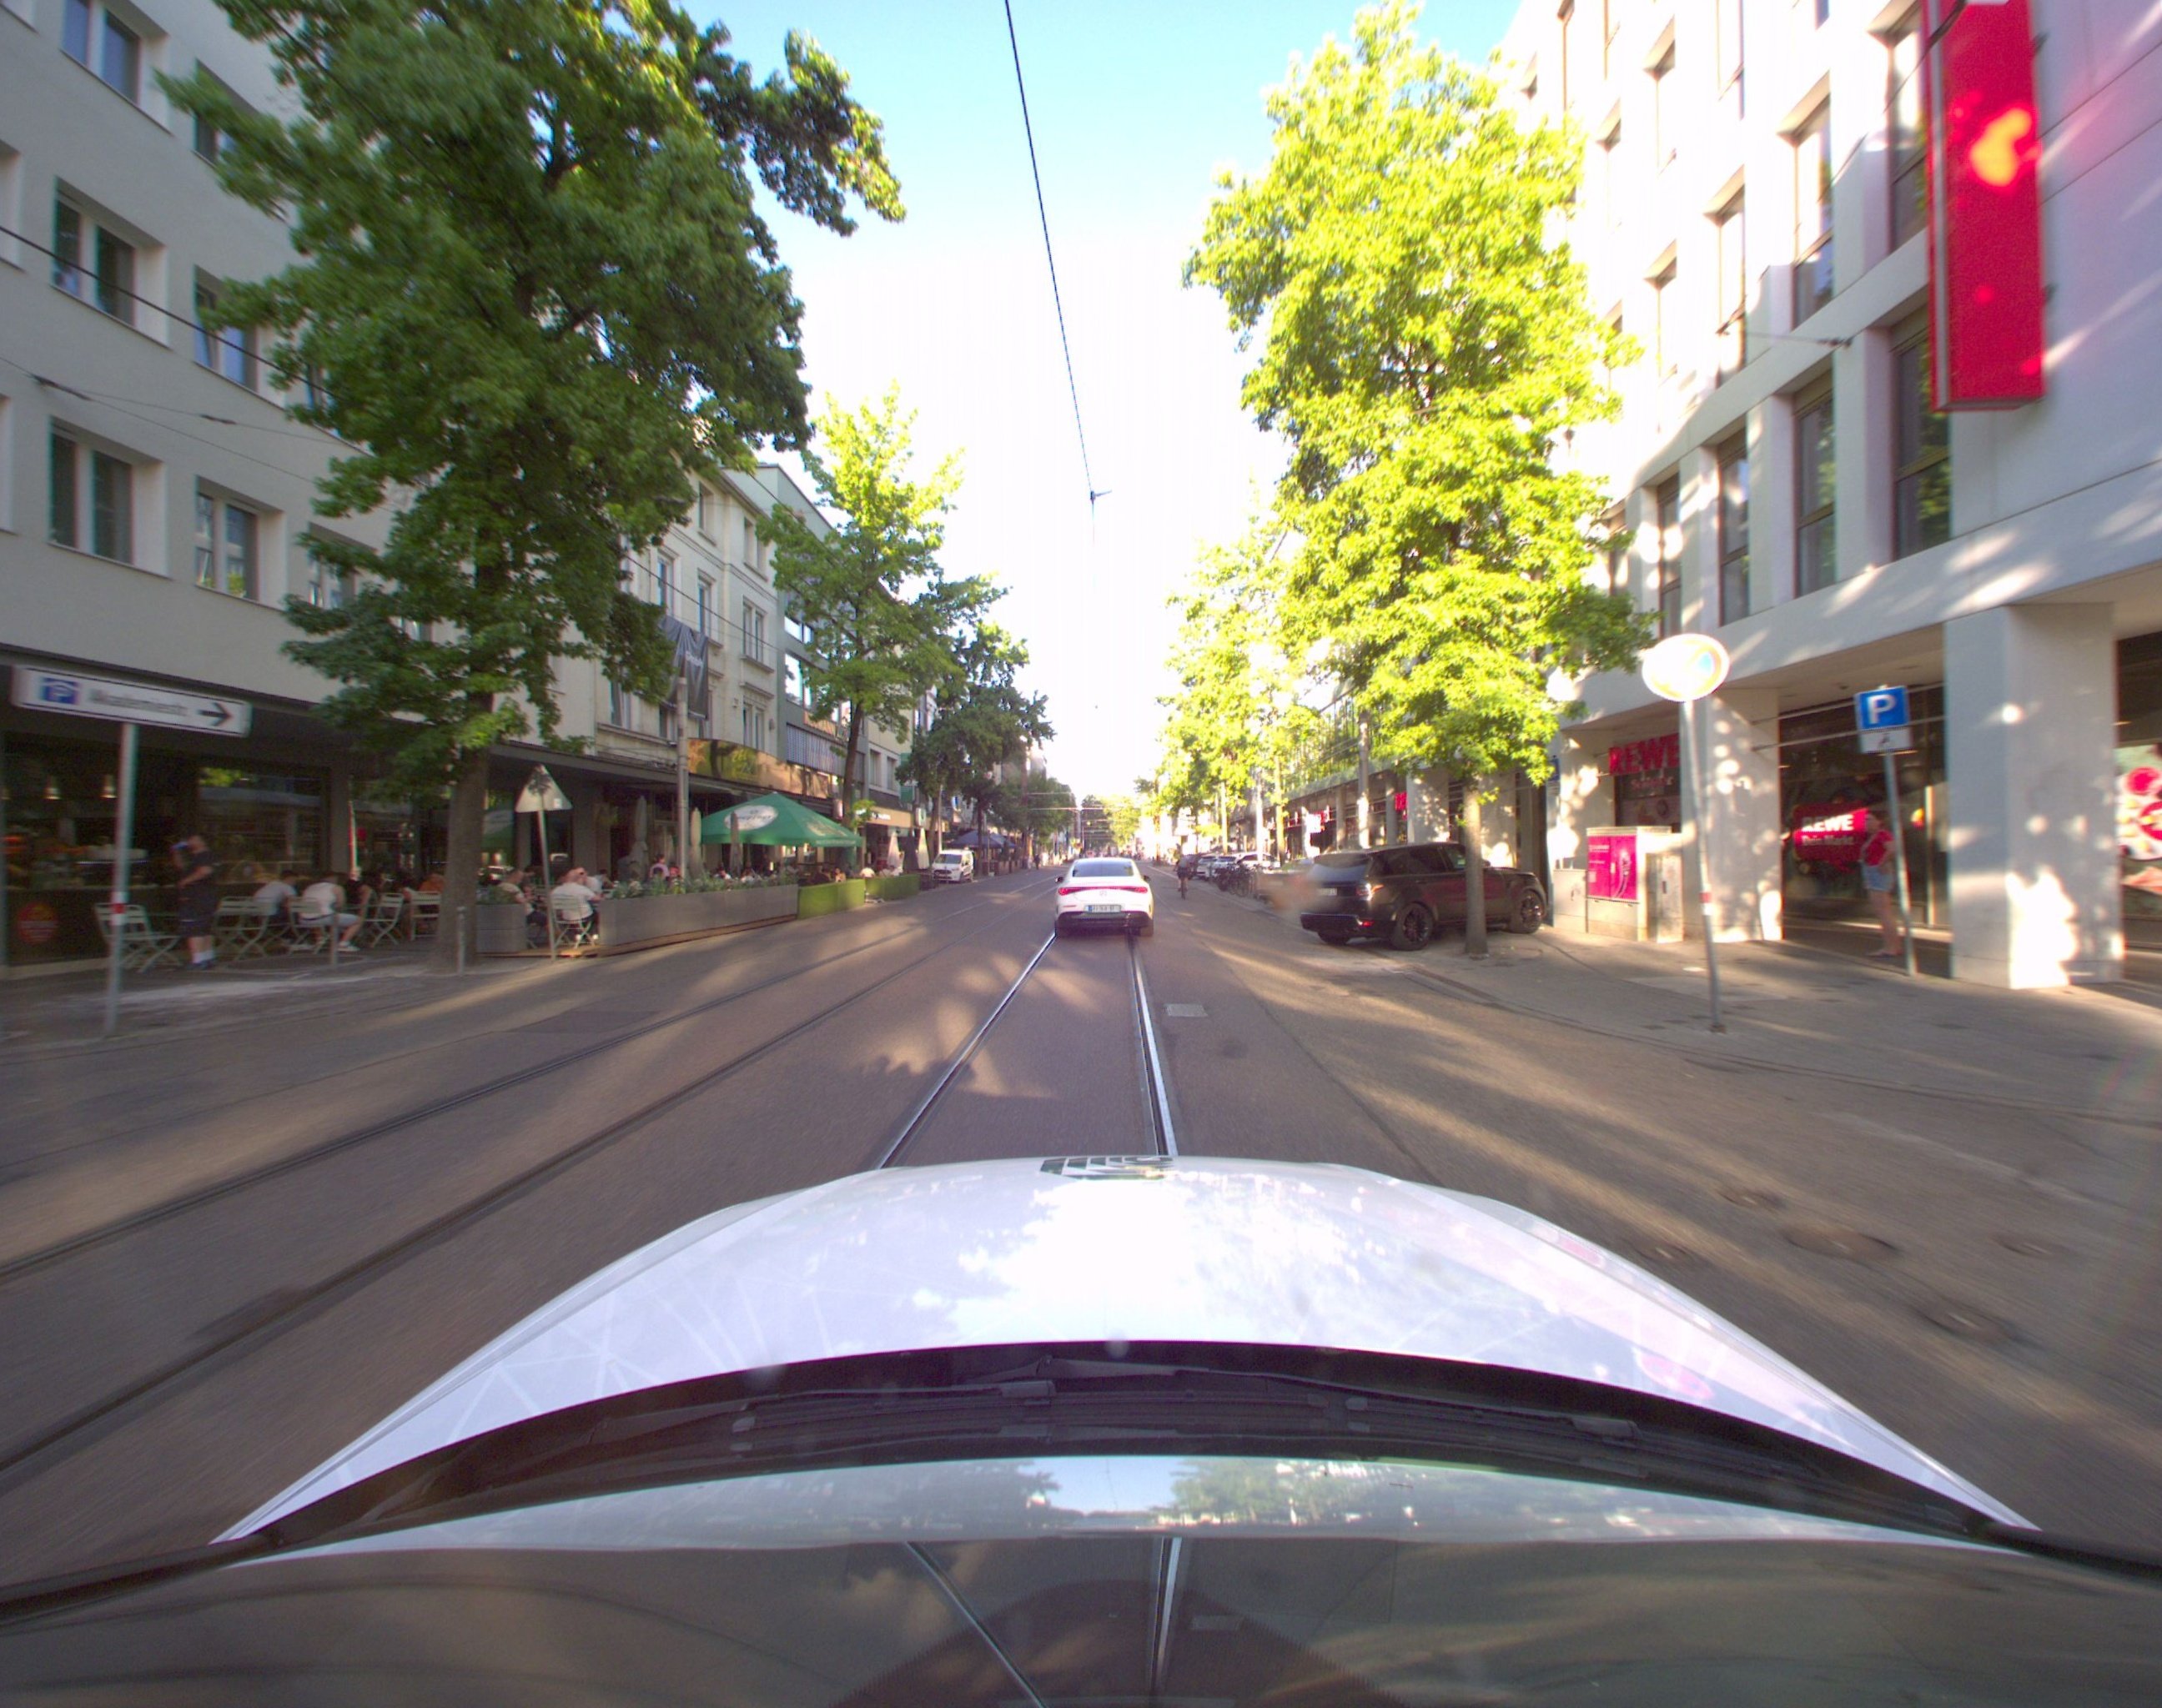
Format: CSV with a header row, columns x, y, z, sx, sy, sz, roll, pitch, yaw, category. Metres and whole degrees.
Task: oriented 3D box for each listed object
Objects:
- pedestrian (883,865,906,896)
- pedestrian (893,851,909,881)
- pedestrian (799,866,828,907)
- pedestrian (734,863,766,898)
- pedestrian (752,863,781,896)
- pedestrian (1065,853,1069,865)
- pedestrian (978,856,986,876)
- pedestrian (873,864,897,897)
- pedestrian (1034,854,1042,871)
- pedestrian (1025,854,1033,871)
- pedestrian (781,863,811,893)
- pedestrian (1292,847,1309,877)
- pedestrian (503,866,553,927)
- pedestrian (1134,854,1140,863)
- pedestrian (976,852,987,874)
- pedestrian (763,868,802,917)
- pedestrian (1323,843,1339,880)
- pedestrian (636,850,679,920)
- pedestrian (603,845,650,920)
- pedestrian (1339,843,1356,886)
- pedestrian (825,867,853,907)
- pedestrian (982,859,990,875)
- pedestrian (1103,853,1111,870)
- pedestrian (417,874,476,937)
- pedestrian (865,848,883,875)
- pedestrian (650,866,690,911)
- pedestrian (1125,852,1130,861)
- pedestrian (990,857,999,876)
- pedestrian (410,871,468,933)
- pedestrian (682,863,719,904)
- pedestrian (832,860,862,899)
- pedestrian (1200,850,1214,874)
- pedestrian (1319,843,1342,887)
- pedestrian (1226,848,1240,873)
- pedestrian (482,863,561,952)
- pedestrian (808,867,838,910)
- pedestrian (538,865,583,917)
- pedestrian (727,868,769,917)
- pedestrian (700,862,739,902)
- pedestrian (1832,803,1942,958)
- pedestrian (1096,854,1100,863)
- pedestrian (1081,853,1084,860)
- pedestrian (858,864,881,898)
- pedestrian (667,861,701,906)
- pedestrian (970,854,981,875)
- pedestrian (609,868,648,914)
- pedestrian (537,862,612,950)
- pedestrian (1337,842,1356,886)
x,y,z,sx,sy,sz,roll,pitch,yaw,category
-7.547,1.064,32.960,0.654,1.193,0.798,2,0,2,pedestrian
-9.781,0.649,44.256,0.645,1.574,0.700,2,0,2,pedestrian
-8.432,1.033,25.717,0.616,1.245,0.697,2,0,2,pedestrian
-11.693,0.931,28.813,0.733,1.214,0.788,2,0,2,pedestrian
-11.606,0.942,30.088,0.697,1.168,0.788,2,0,2,pedestrian
-2.364,0.812,133.549,0.536,1.929,0.574,-1,0,6,pedestrian
-7.197,0.869,59.210,0.547,1.429,0.583,0,0,1,pedestrian
-7.725,1.043,32.075,0.654,1.244,0.873,2,0,2,pedestrian
-3.999,0.796,75.328,0.619,1.550,0.853,1,0,3,pedestrian
-4.752,0.768,74.485,0.619,1.509,0.834,1,0,3,pedestrian
-11.450,0.956,32.764,0.750,1.188,1.065,2,0,2,pedestrian
12.232,0.432,45.443,0.711,1.624,0.883,-2,0,3,pedestrian
-12.232,0.929,18.035,0.599,1.298,0.687,1,0,3,pedestrian
11.452,0.847,166.768,0.957,1.785,0.804,-3,0,2,pedestrian
-7.731,0.713,63.210,0.715,1.724,0.675,0,0,1,pedestrian
-8.022,1.022,21.937,0.704,1.259,0.773,1,0,4,pedestrian
11.919,0.366,38.833,0.555,1.750,0.525,-3,-1,2,pedestrian
-10.267,0.742,19.755,0.616,1.670,0.697,1,0,2,pedestrian
-10.897,0.670,19.527,0.675,1.757,0.697,1,0,4,pedestrian
10.684,0.422,32.641,0.514,1.696,0.551,-1,0,7,pedestrian
-7.669,1.037,25.812,0.616,1.245,0.697,2,0,2,pedestrian
-7.069,0.954,60.520,0.493,1.228,0.535,0,0,1,pedestrian
2.835,0.771,87.817,0.838,1.801,0.791,1,0,3,pedestrian
-12.162,0.975,15.625,0.550,1.161,0.687,1,0,3,pedestrian
-11.531,0.433,45.415,0.767,1.467,0.765,2,0,0,pedestrian
-11.507,0.956,22.838,0.667,1.242,0.799,1,0,2,pedestrian
9.725,0.485,169.885,0.957,1.785,0.804,-3,0,2,pedestrian
-6.305,0.919,59.131,0.547,1.356,0.583,0,0,1,pedestrian
-12.529,0.927,15.899,0.550,1.161,0.687,1,0,3,pedestrian
-11.992,0.910,25.677,0.733,1.232,0.788,2,0,2,pedestrian
-8.421,0.897,29.312,0.751,1.343,0.873,2,0,2,pedestrian
9.131,0.592,58.831,0.672,1.685,0.700,-3,0,36,pedestrian
9.888,0.427,32.330,0.679,1.696,0.548,-1,0,-10,pedestrian
10.979,0.458,58.685,0.681,1.731,0.636,-3,-1,44,pedestrian
-9.149,0.852,13.354,0.686,1.386,0.807,1,0,3,pedestrian
-7.828,1.049,24.742,0.616,1.245,0.697,2,0,2,pedestrian
-11.979,0.845,18.762,0.550,1.161,0.687,1,0,3,pedestrian
-8.995,1.027,22.009,0.704,1.259,0.870,1,0,5,pedestrian
-11.859,0.907,26.729,0.774,1.237,0.945,2,0,2,pedestrian
9.999,0.326,10.141,0.746,1.818,0.808,-4,-2,35,pedestrian
3.650,0.974,171.958,0.797,1.782,0.849,1,0,1,pedestrian
0.409,0.605,177.518,0.657,1.599,0.573,-1,0,1,pedestrian
-8.347,1.050,32.157,0.654,1.293,0.798,2,0,2,pedestrian
-12.023,0.881,24.689,0.616,1.309,0.697,2,0,2,pedestrian
-7.962,0.780,61.401,0.671,1.607,0.720,0,0,1,pedestrian
-11.776,0.952,21.197,0.599,1.174,0.687,1,0,3,pedestrian
-8.356,0.842,13.458,0.686,1.386,0.807,1,0,3,pedestrian
10.620,0.394,32.629,0.521,1.750,0.559,-3,-1,4,pedestrian
